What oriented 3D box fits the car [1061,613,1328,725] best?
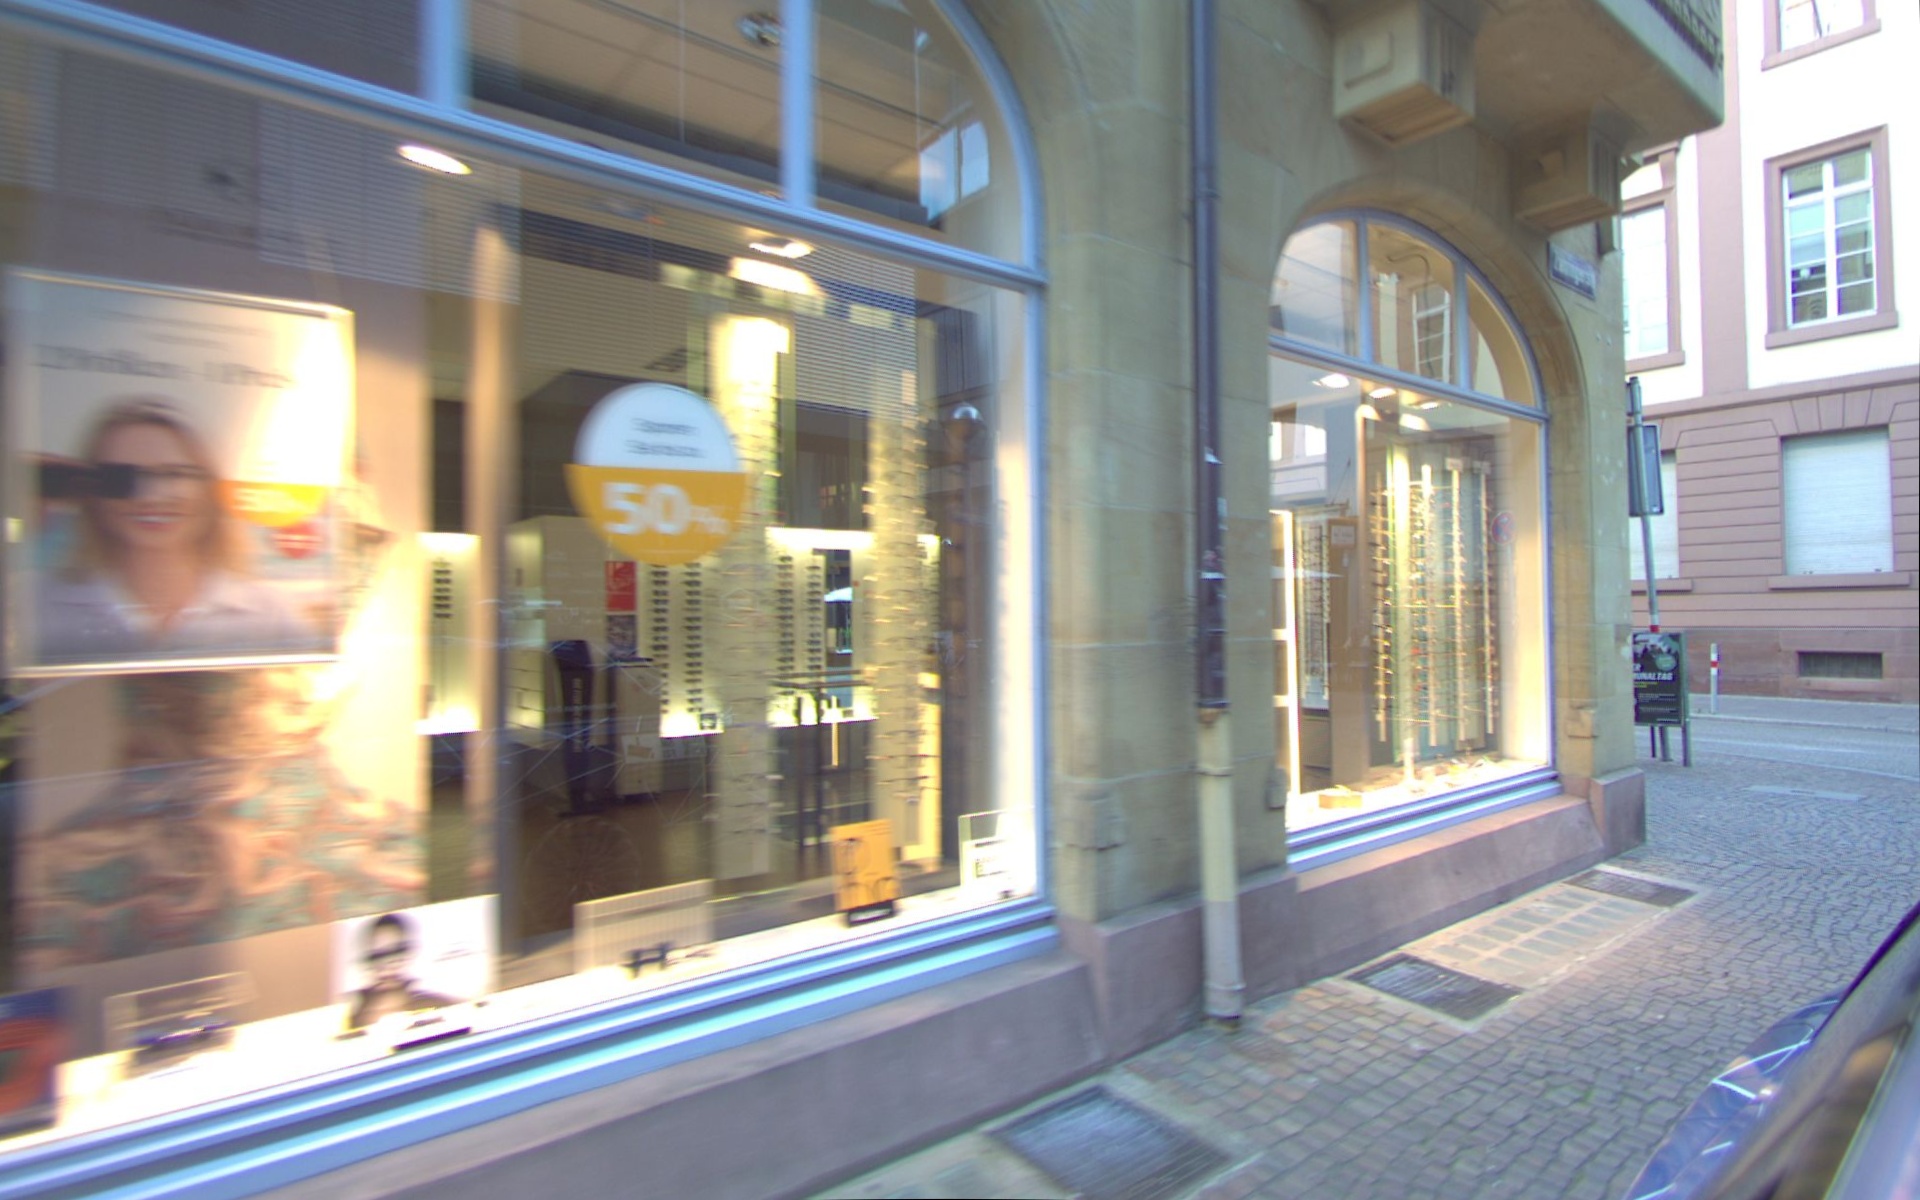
[{"bbox_3d":[3.585,0.997,16.110,1.620,1.460,3.997,-3,1,-36],"label":"car"}]
